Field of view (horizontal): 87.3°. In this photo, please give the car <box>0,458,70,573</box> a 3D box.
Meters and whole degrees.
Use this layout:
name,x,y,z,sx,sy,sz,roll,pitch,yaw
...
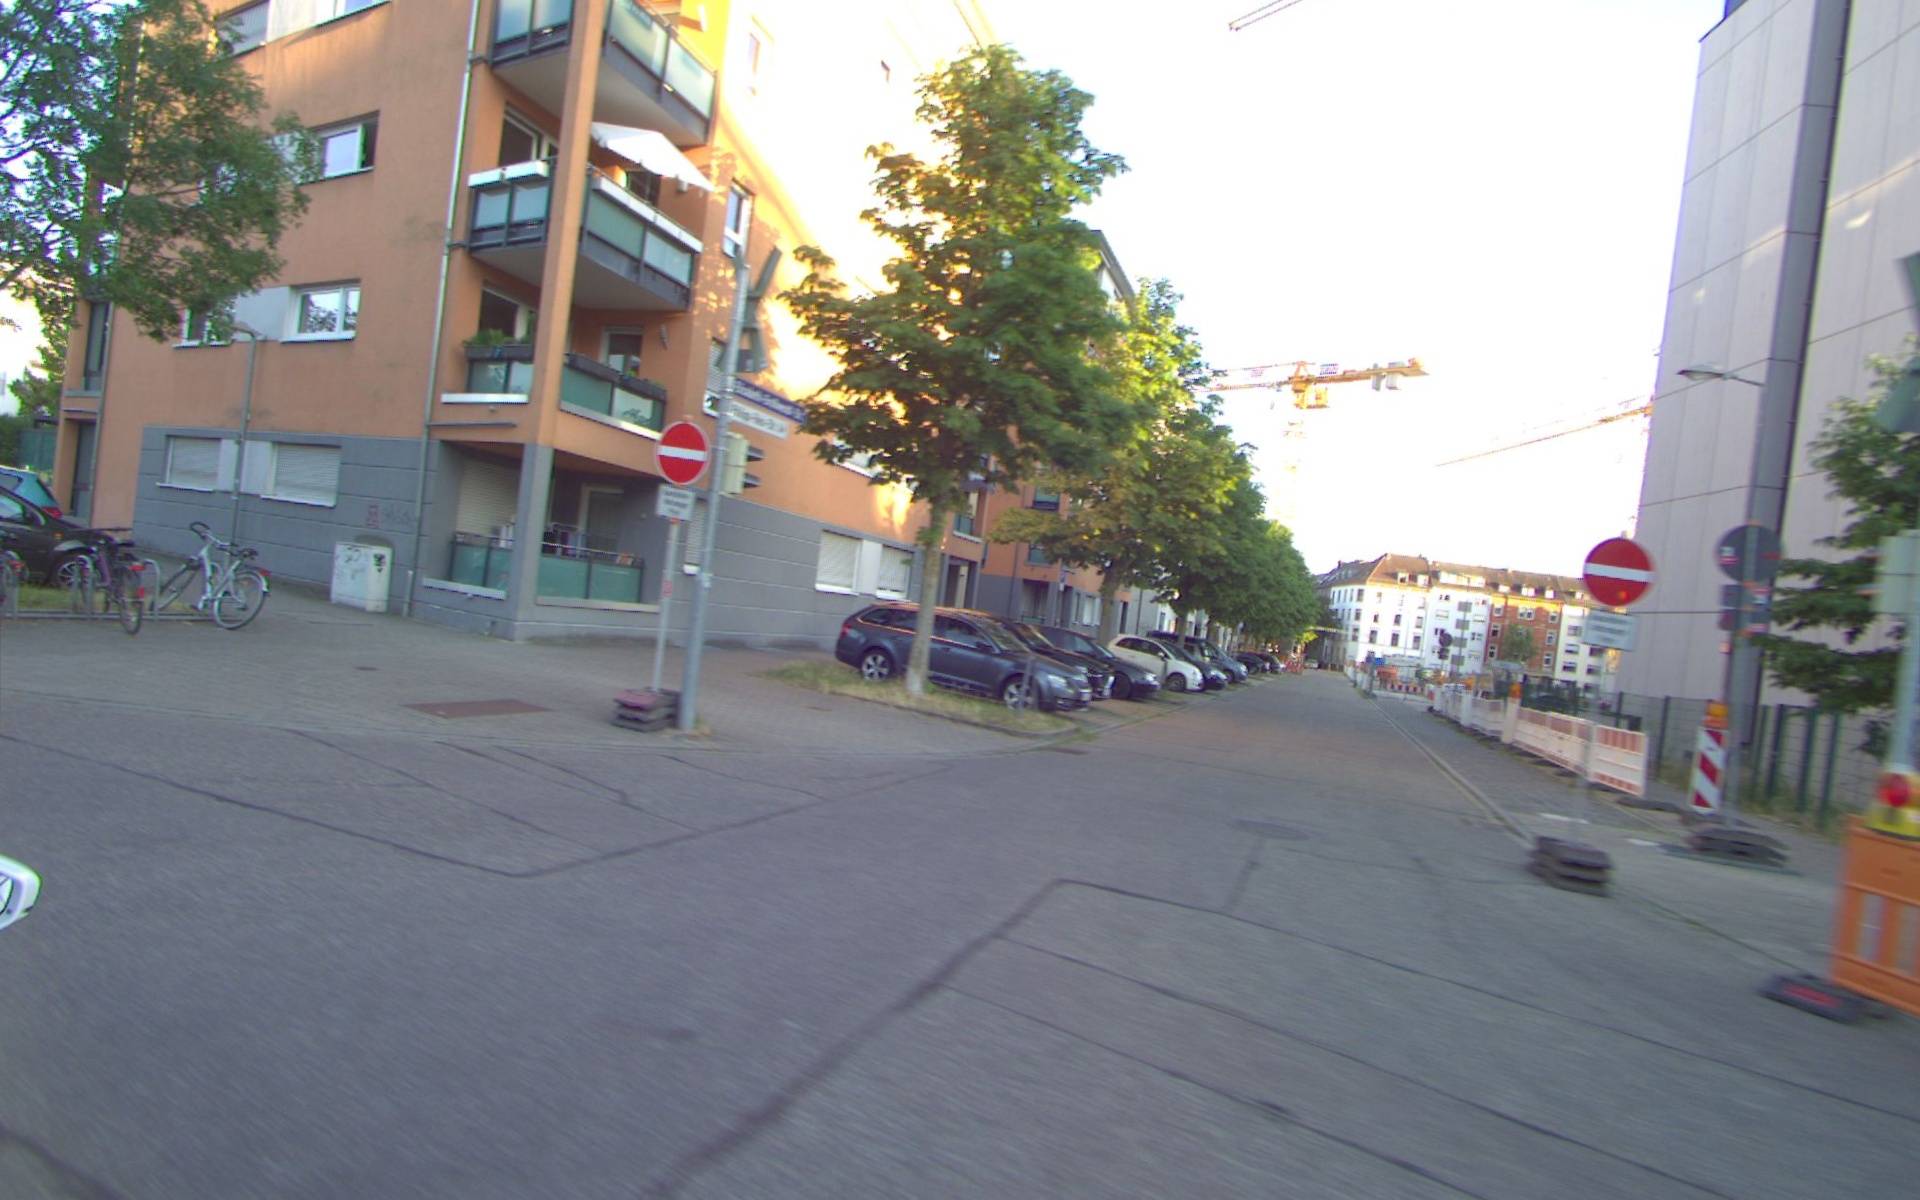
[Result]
name,x,y,z,sx,sy,sz,roll,pitch,yaw
car,-15.108,-1.399,13.734,1.645,1.589,4.053,8,1,31

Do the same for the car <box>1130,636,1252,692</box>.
name,x,y,z,sx,sy,sz,roll,pitch,yaw
car,9.914,2.707,43.120,4.725,1.614,2.000,8,1,19

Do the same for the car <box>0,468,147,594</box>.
name,x,y,z,sx,sy,sz,roll,pitch,yaw
car,-13.057,-1.045,12.843,1.585,1.491,3.759,8,0,26

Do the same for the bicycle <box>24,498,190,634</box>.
name,x,y,z,sx,sy,sz,roll,pitch,yaw
bicycle,-9.133,-0.370,10.750,1.894,1.168,0.679,10,4,29

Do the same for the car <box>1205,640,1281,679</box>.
name,x,y,z,sx,sy,sz,roll,pitch,yaw
car,19.826,4.175,70.409,4.726,2.009,1.999,8,1,22

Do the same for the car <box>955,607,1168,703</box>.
name,x,y,z,sx,sy,sz,roll,pitch,yaw
car,2.513,1.316,24.874,4.726,1.614,1.999,8,1,22

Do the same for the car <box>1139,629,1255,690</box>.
name,x,y,z,sx,sy,sz,roll,pitch,yaw
car,10.737,2.669,45.556,4.725,2.009,2.000,8,1,19

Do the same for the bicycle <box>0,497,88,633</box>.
name,x,y,z,sx,sy,sz,roll,pitch,yaw
bicycle,-9.678,-0.414,9.959,1.863,1.168,0.718,10,3,21

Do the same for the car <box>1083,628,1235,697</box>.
name,x,y,z,sx,sy,sz,roll,pitch,yaw
car,6.838,2.095,34.548,4.725,1.614,2.000,8,1,19

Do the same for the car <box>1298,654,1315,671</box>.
name,x,y,z,sx,sy,sz,roll,pitch,yaw
car,49.094,8.902,142.538,1.963,2.036,4.003,8,-2,21

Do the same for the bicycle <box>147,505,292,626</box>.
name,x,y,z,sx,sy,sz,roll,pitch,yaw
bicycle,-8.836,-0.423,11.981,1.929,1.140,0.530,10,0,29

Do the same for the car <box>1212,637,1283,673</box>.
name,x,y,z,sx,sy,sz,roll,pitch,yaw
car,21.624,4.113,75.651,4.726,2.009,1.999,8,1,22

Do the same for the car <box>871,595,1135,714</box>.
name,x,y,z,sx,sy,sz,roll,pitch,yaw
car,0.864,1.048,20.173,4.726,1.614,2.000,8,0,22

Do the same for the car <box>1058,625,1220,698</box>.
name,x,y,z,sx,sy,sz,roll,pitch,yaw
car,5.781,1.948,32.487,4.725,1.614,2.000,8,1,19

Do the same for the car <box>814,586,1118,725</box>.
name,x,y,z,sx,sy,sz,roll,pitch,yaw
car,0.101,0.916,17.479,4.726,1.613,2.000,8,0,22
